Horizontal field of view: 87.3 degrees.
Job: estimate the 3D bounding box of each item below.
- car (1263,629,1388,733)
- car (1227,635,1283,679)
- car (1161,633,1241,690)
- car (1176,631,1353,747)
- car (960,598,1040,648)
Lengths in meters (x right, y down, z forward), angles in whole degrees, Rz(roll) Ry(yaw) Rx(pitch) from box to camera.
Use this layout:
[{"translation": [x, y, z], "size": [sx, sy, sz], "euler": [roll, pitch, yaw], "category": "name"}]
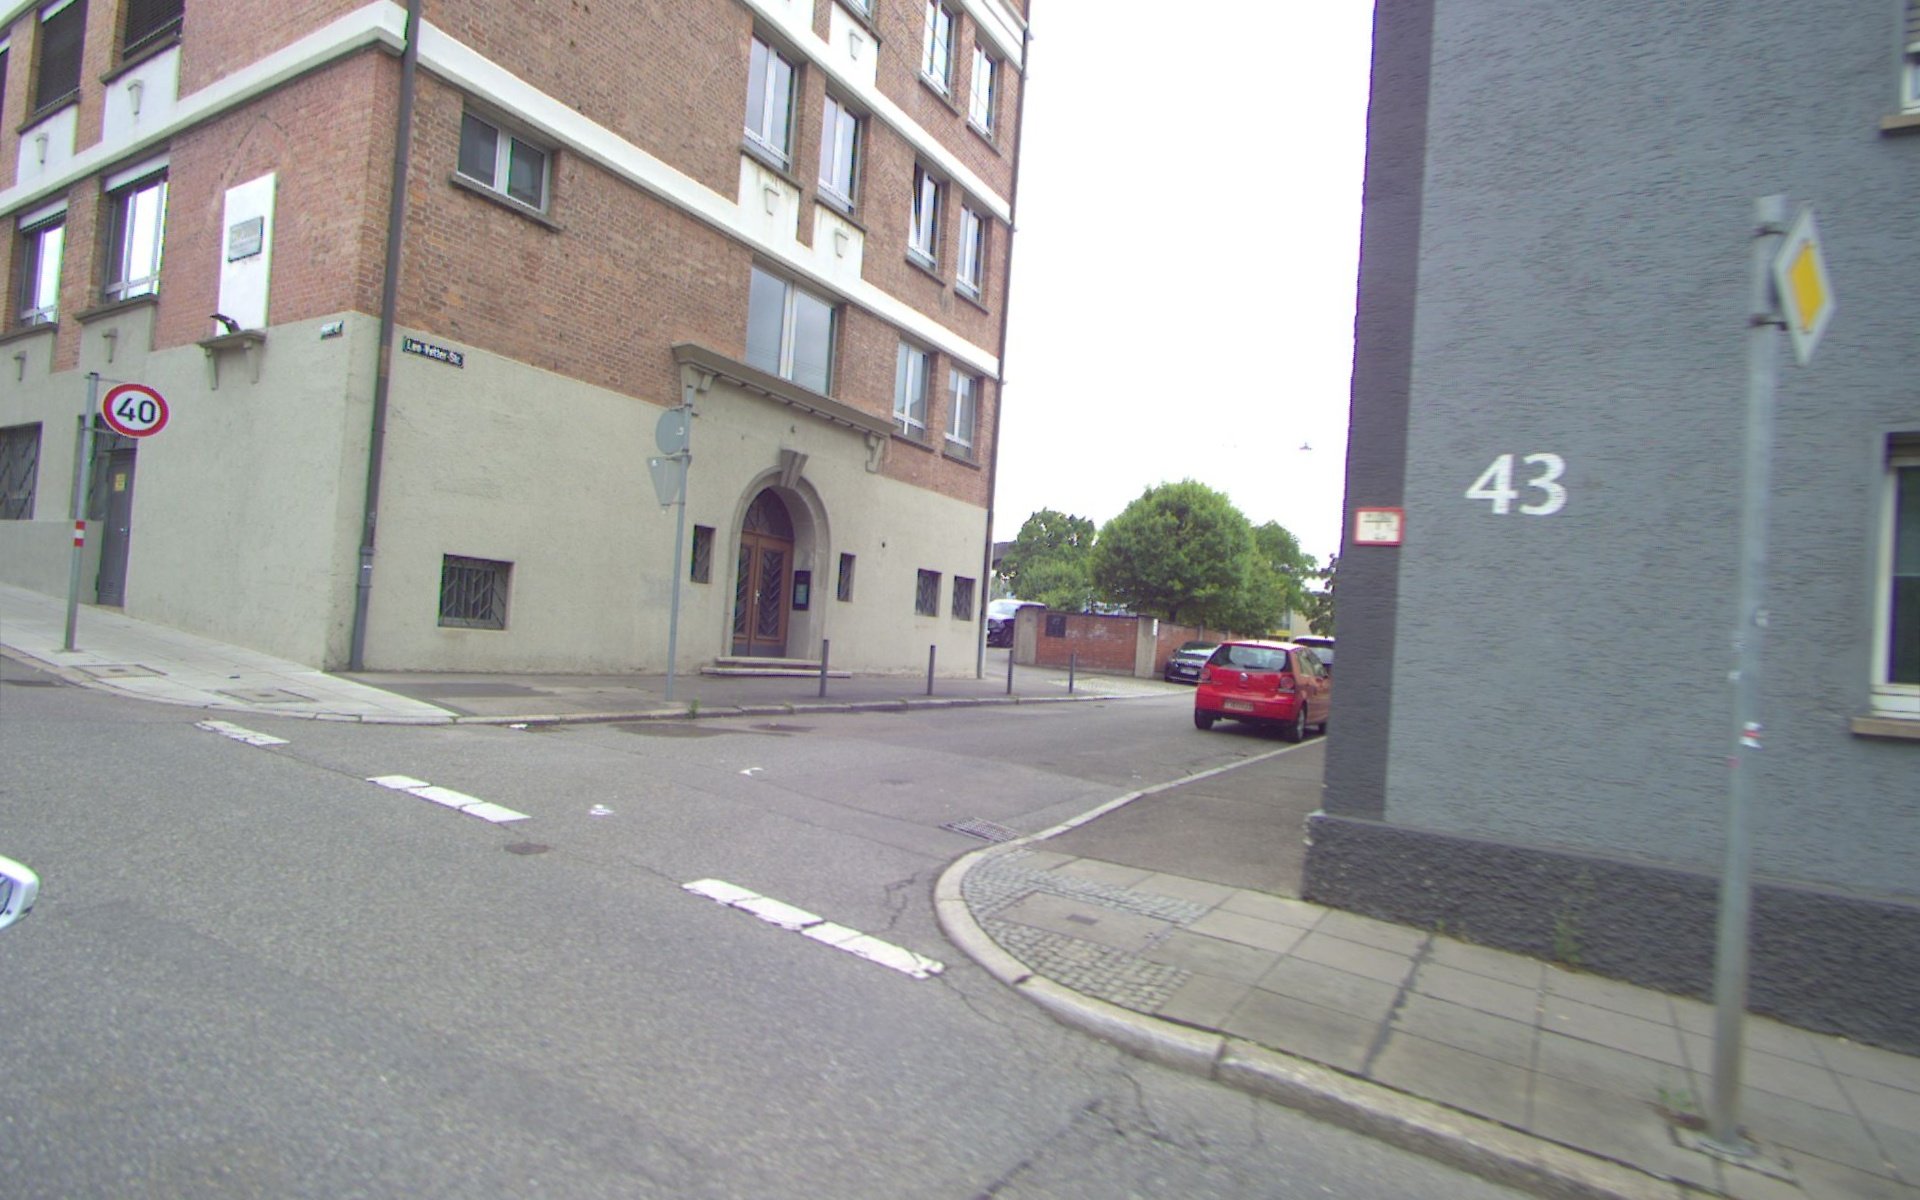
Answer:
[{"translation": [7.446, 1.559, 20.251], "size": [1.656, 1.696, 4.113], "euler": [7, 1, 28], "category": "car"}, {"translation": [12.556, 2.386, 42.692], "size": [1.732, 1.572, 4.117], "euler": [6, 1, 22], "category": "car"}, {"translation": [7.960, 1.971, 33.005], "size": [1.770, 1.572, 3.948], "euler": [6, 1, 23], "category": "car"}, {"translation": [5.057, 1.378, 16.398], "size": [1.736, 1.483, 3.661], "euler": [7, 1, 32], "category": "car"}, {"translation": [1.577, 0.920, 38.374], "size": [1.652, 1.645, 3.650], "euler": [7, 0, 24], "category": "car"}]
